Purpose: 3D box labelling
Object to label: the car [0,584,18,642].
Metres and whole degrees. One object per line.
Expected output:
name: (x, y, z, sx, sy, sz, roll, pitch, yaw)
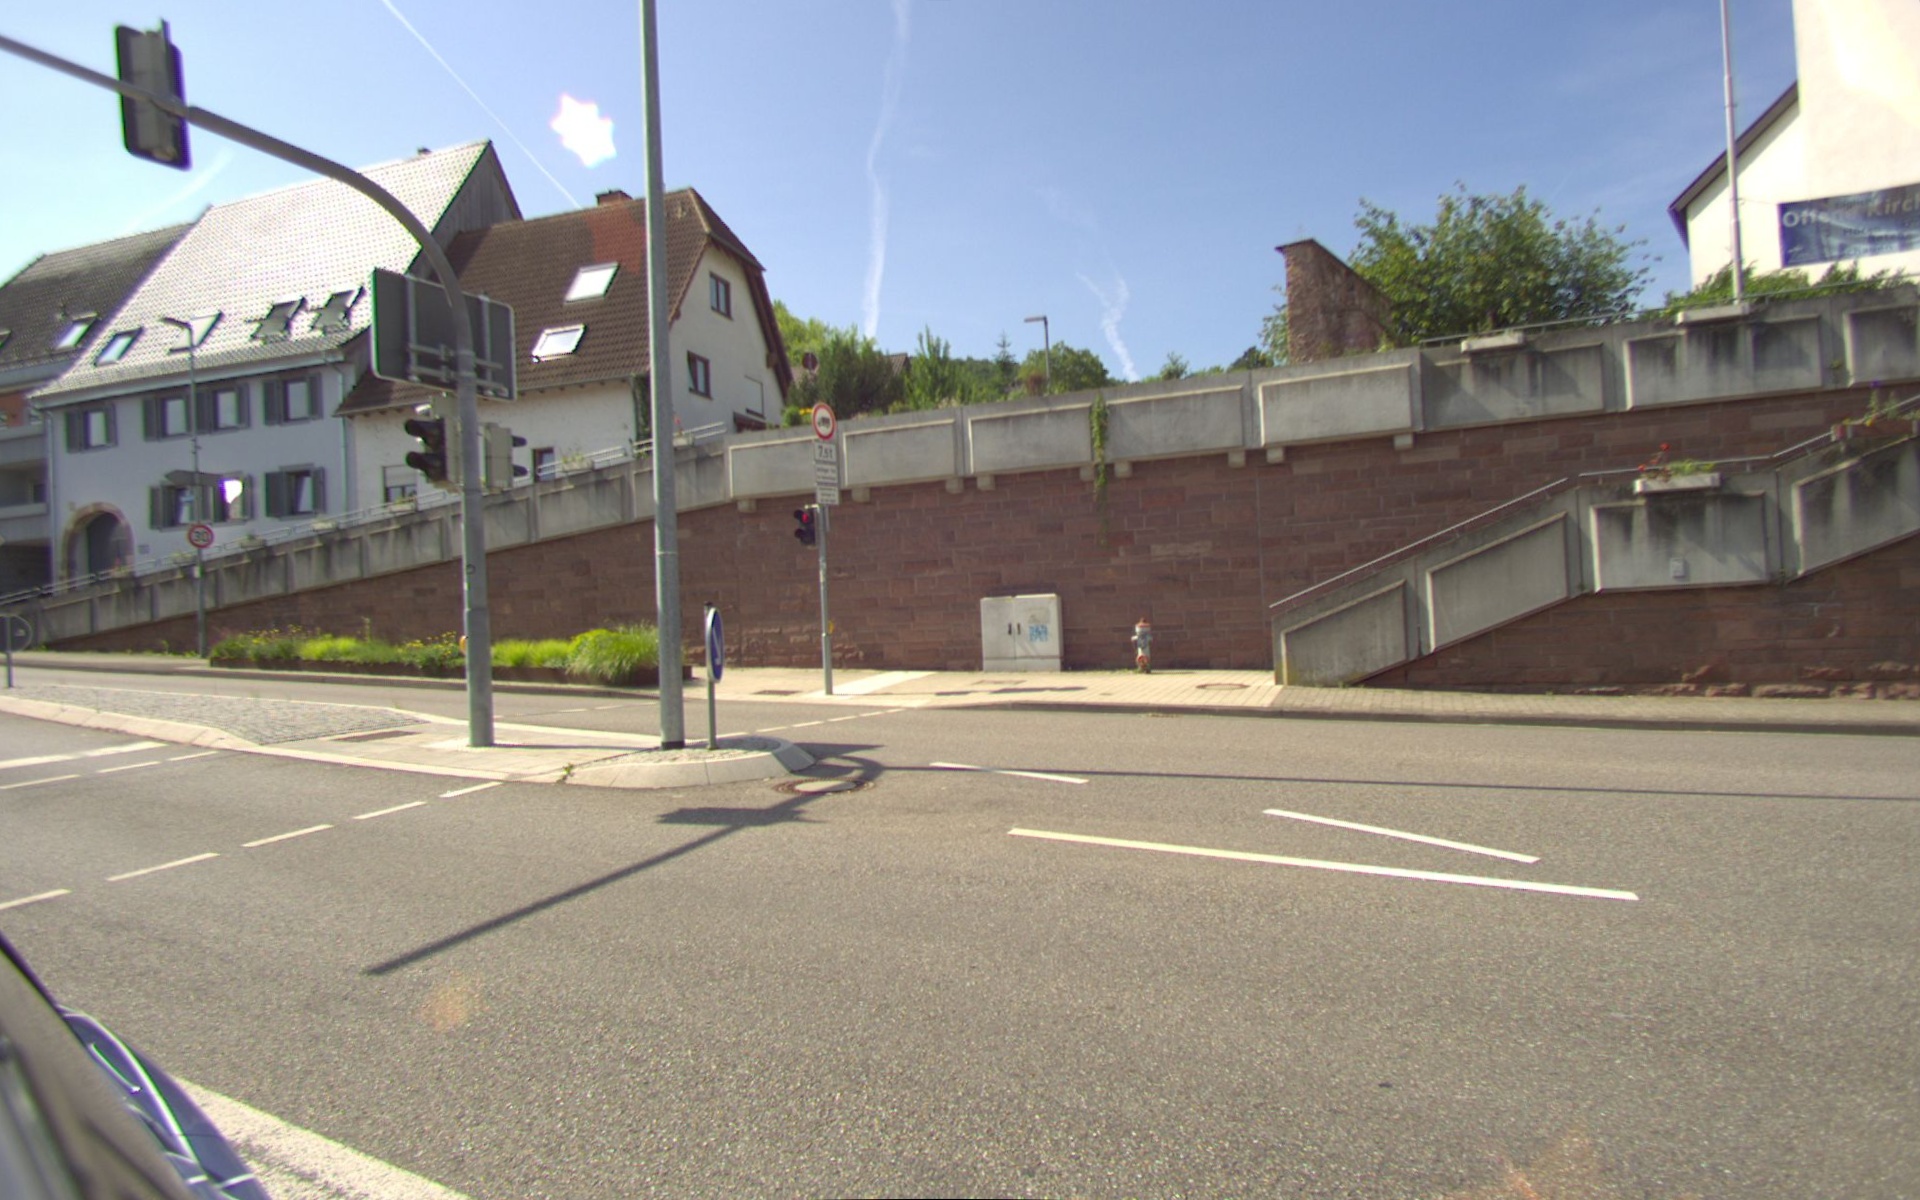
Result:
car: (-33.103, 0.511, 32.464, 5.240, 1.811, 1.801, -2, 1, 17)
